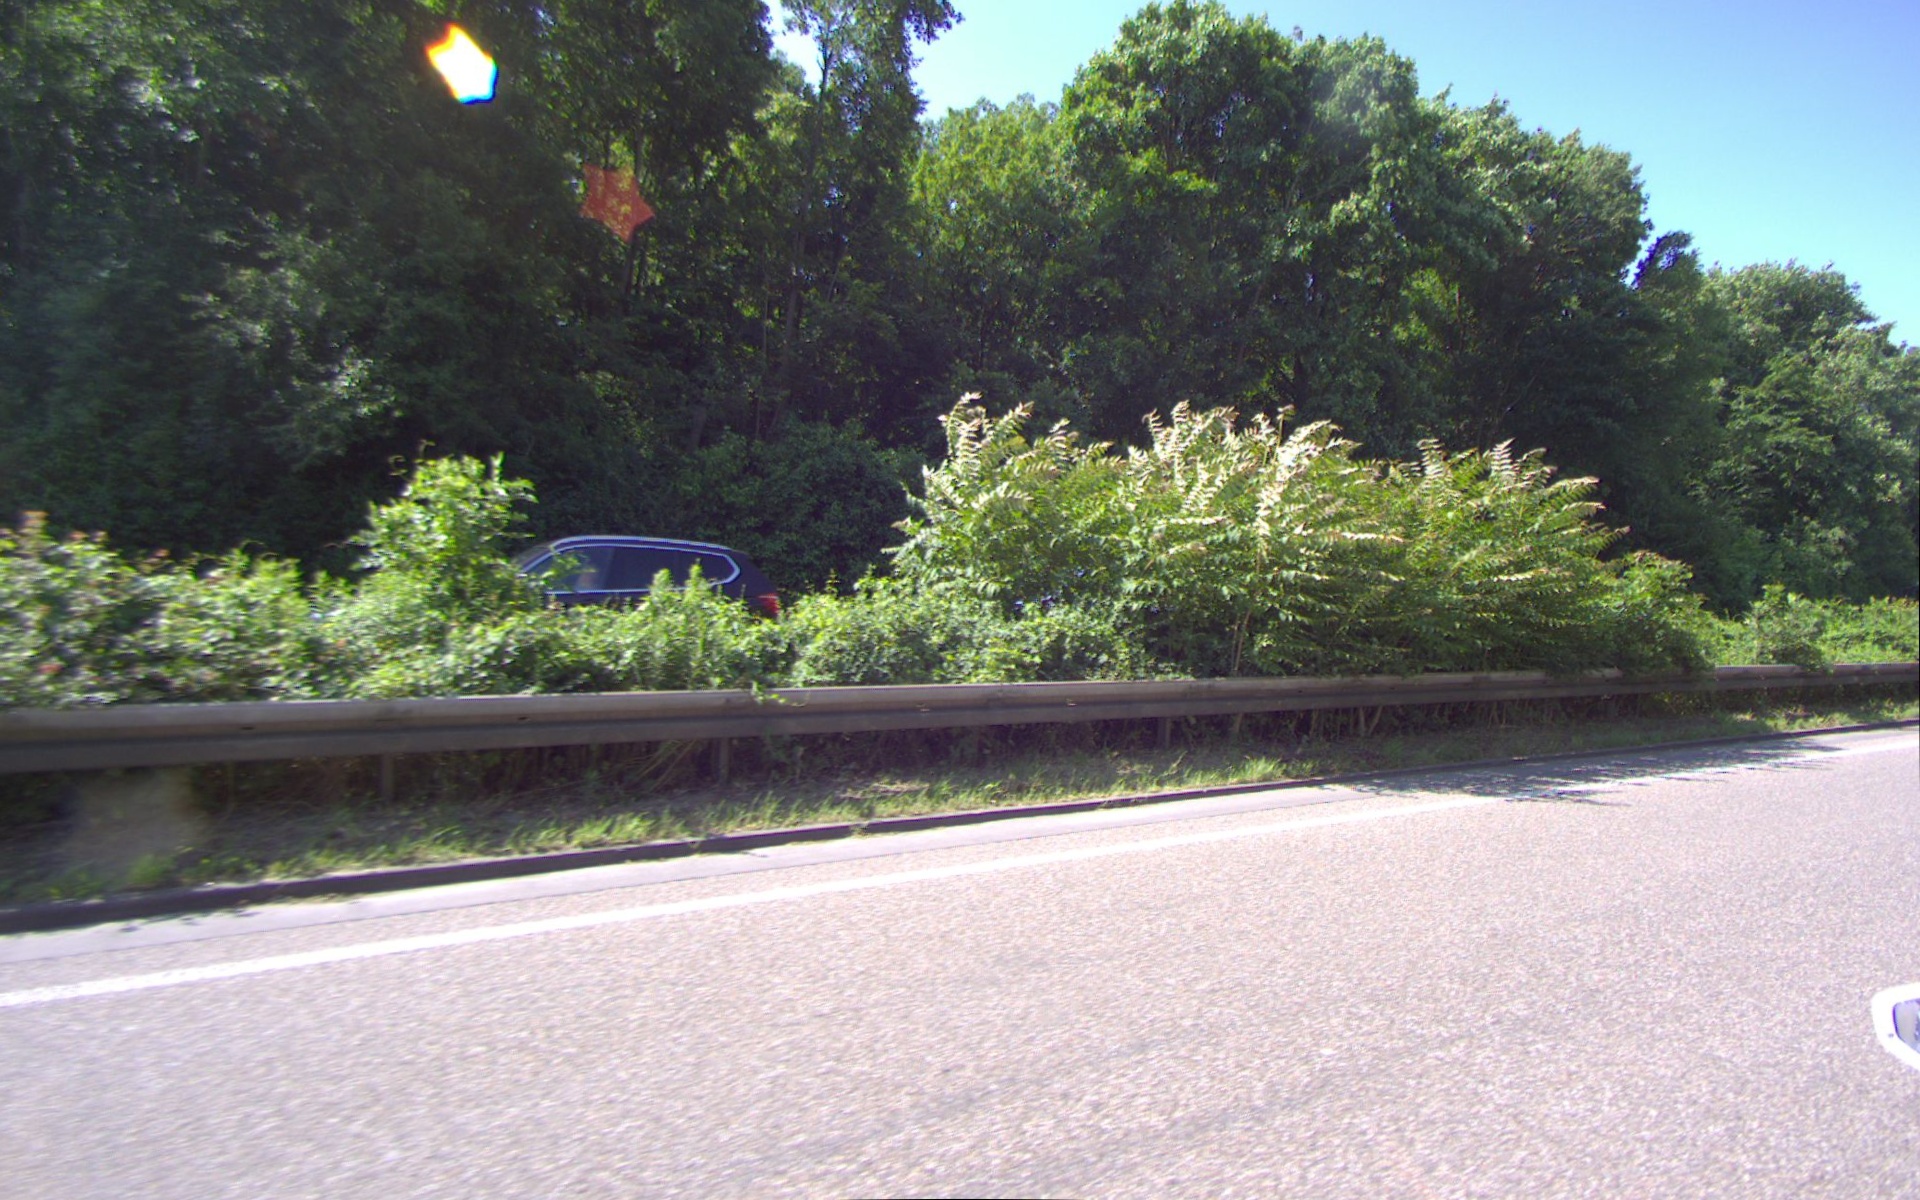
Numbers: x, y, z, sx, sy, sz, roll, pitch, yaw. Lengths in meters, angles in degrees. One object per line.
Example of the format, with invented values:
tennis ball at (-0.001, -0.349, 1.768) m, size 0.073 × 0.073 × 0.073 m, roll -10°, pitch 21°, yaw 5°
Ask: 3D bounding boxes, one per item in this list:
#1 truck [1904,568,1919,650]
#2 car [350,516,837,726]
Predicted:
truck at (42.018, 0.424, 42.105) m, size 4.488 × 3.386 × 2.327 m, roll 1°, pitch 0°, yaw -30°
car at (-3.759, 0.219, 10.649) m, size 4.495 × 1.826 × 1.834 m, roll 1°, pitch 0°, yaw -29°
